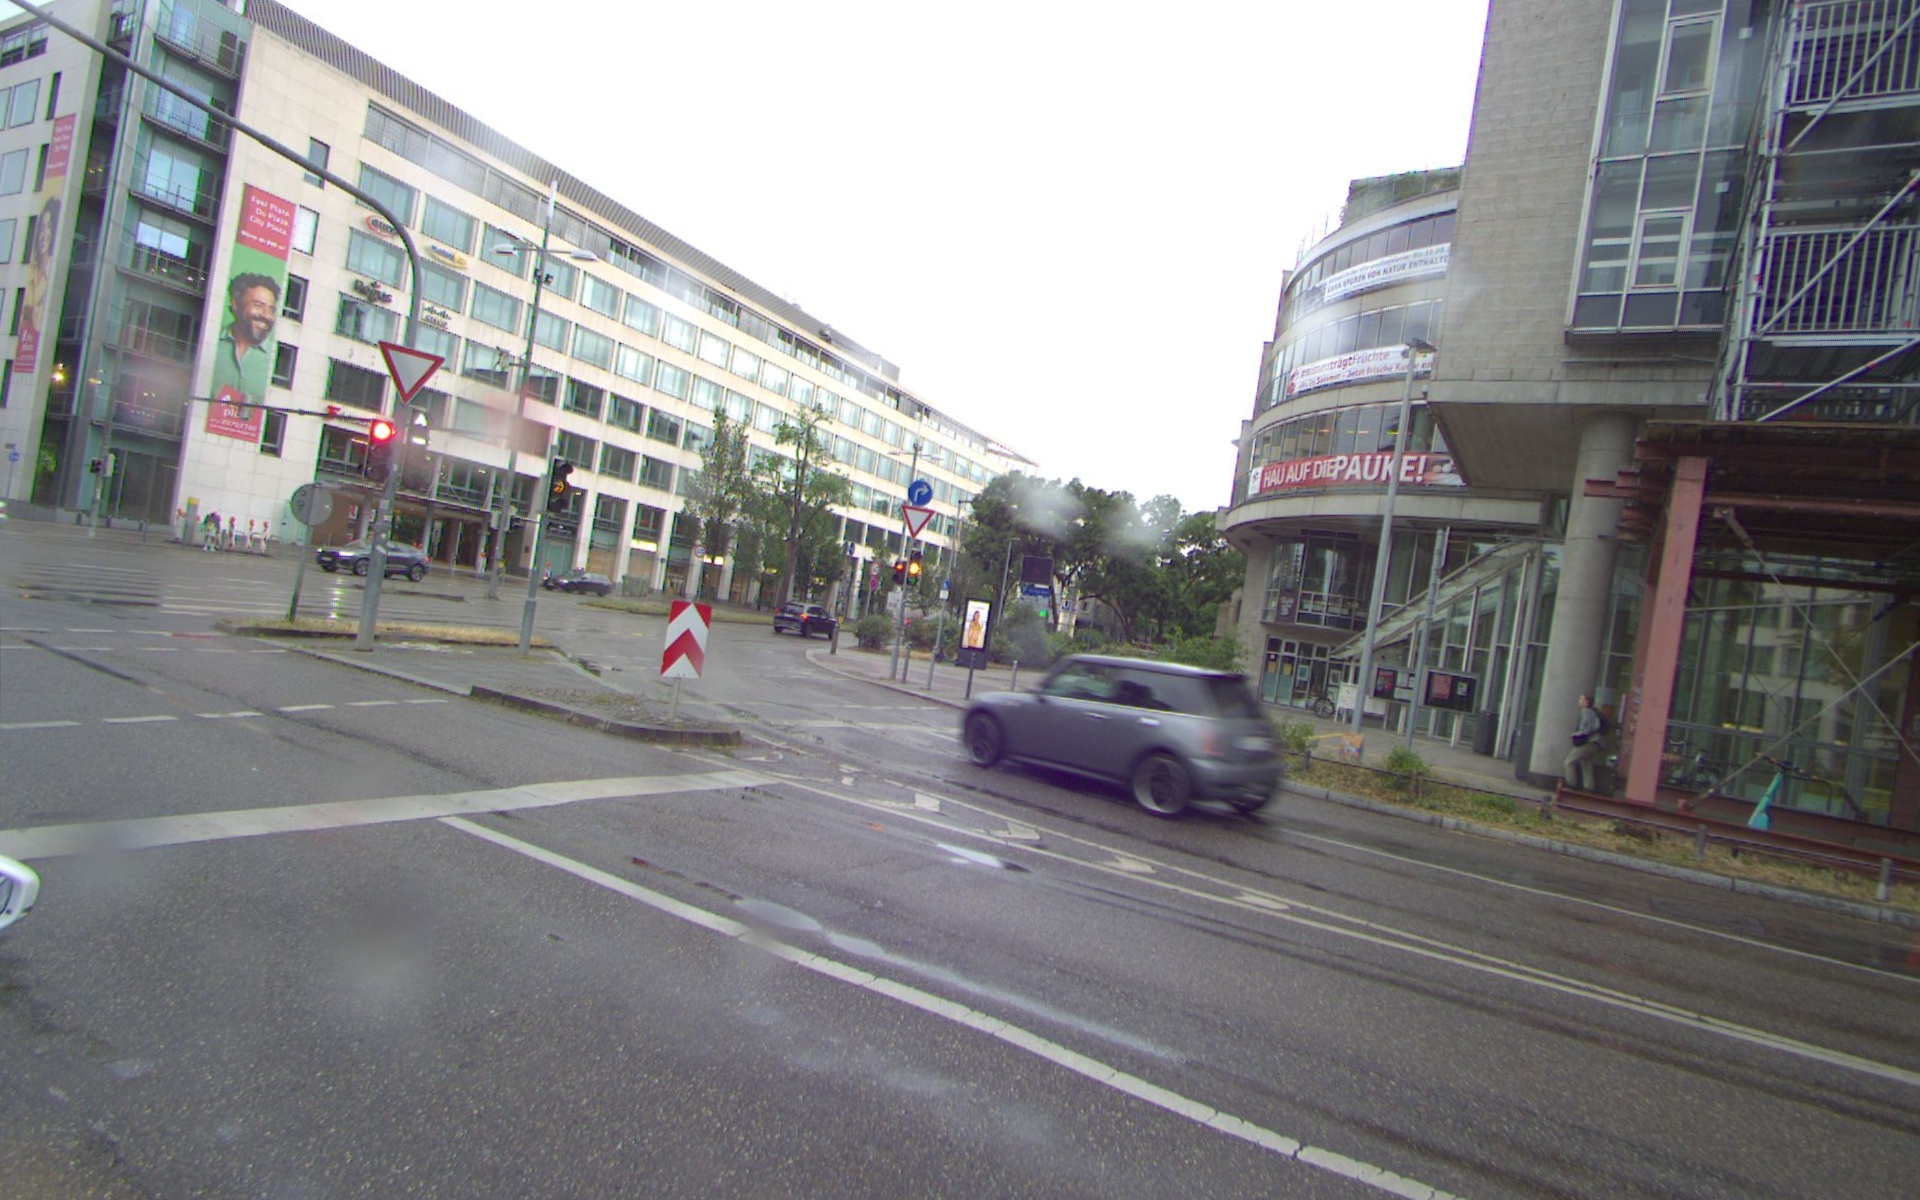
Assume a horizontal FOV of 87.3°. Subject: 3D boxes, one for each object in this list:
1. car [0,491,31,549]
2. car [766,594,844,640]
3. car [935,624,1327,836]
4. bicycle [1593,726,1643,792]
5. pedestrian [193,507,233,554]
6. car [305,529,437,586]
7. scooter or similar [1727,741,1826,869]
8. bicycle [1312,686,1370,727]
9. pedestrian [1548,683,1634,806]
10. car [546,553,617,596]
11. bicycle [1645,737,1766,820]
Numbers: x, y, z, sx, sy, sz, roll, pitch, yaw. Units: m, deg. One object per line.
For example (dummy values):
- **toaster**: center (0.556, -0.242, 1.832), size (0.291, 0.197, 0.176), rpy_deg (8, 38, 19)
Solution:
- **car**: center (-27.962, -2.547, 26.427), size (1.963, 1.492, 4.742), rpy_deg (7, -4, 19)
- **car**: center (-7.212, 0.819, 47.095), size (1.898, 1.715, 4.003), rpy_deg (7, -1, 17)
- **car**: center (1.669, 1.245, 10.668), size (1.734, 1.473, 3.676), rpy_deg (7, 0, -43)
- **bicycle**: center (13.612, 3.260, 20.834), size (0.576, 1.208, 1.614), rpy_deg (7, -2, 27)
- **pedestrian**: center (-32.226, -2.979, 43.387), size (0.822, 1.838, 0.963), rpy_deg (6, -1, 31)
- **car**: center (-23.825, -1.693, 40.923), size (1.797, 1.627, 4.494), rpy_deg (7, -2, 16)
- **scooter or similar**: center (9.223, 2.269, 11.416), size (0.577, 1.208, 1.780), rpy_deg (7, -1, 34)
- **bicycle**: center (13.454, 3.747, 35.529), size (1.753, 1.208, 0.586), rpy_deg (6, -1, 29)
- **pedestrian**: center (10.048, 2.281, 16.043), size (0.776, 1.796, 0.781), rpy_deg (7, -1, 13)
- **car**: center (-23.269, -1.535, 62.022), size (1.519, 2.036, 4.674), rpy_deg (7, -2, 14)
- **bicycle**: center (13.486, 3.224, 18.228), size (1.584, 1.208, 0.587), rpy_deg (7, -1, 6)
